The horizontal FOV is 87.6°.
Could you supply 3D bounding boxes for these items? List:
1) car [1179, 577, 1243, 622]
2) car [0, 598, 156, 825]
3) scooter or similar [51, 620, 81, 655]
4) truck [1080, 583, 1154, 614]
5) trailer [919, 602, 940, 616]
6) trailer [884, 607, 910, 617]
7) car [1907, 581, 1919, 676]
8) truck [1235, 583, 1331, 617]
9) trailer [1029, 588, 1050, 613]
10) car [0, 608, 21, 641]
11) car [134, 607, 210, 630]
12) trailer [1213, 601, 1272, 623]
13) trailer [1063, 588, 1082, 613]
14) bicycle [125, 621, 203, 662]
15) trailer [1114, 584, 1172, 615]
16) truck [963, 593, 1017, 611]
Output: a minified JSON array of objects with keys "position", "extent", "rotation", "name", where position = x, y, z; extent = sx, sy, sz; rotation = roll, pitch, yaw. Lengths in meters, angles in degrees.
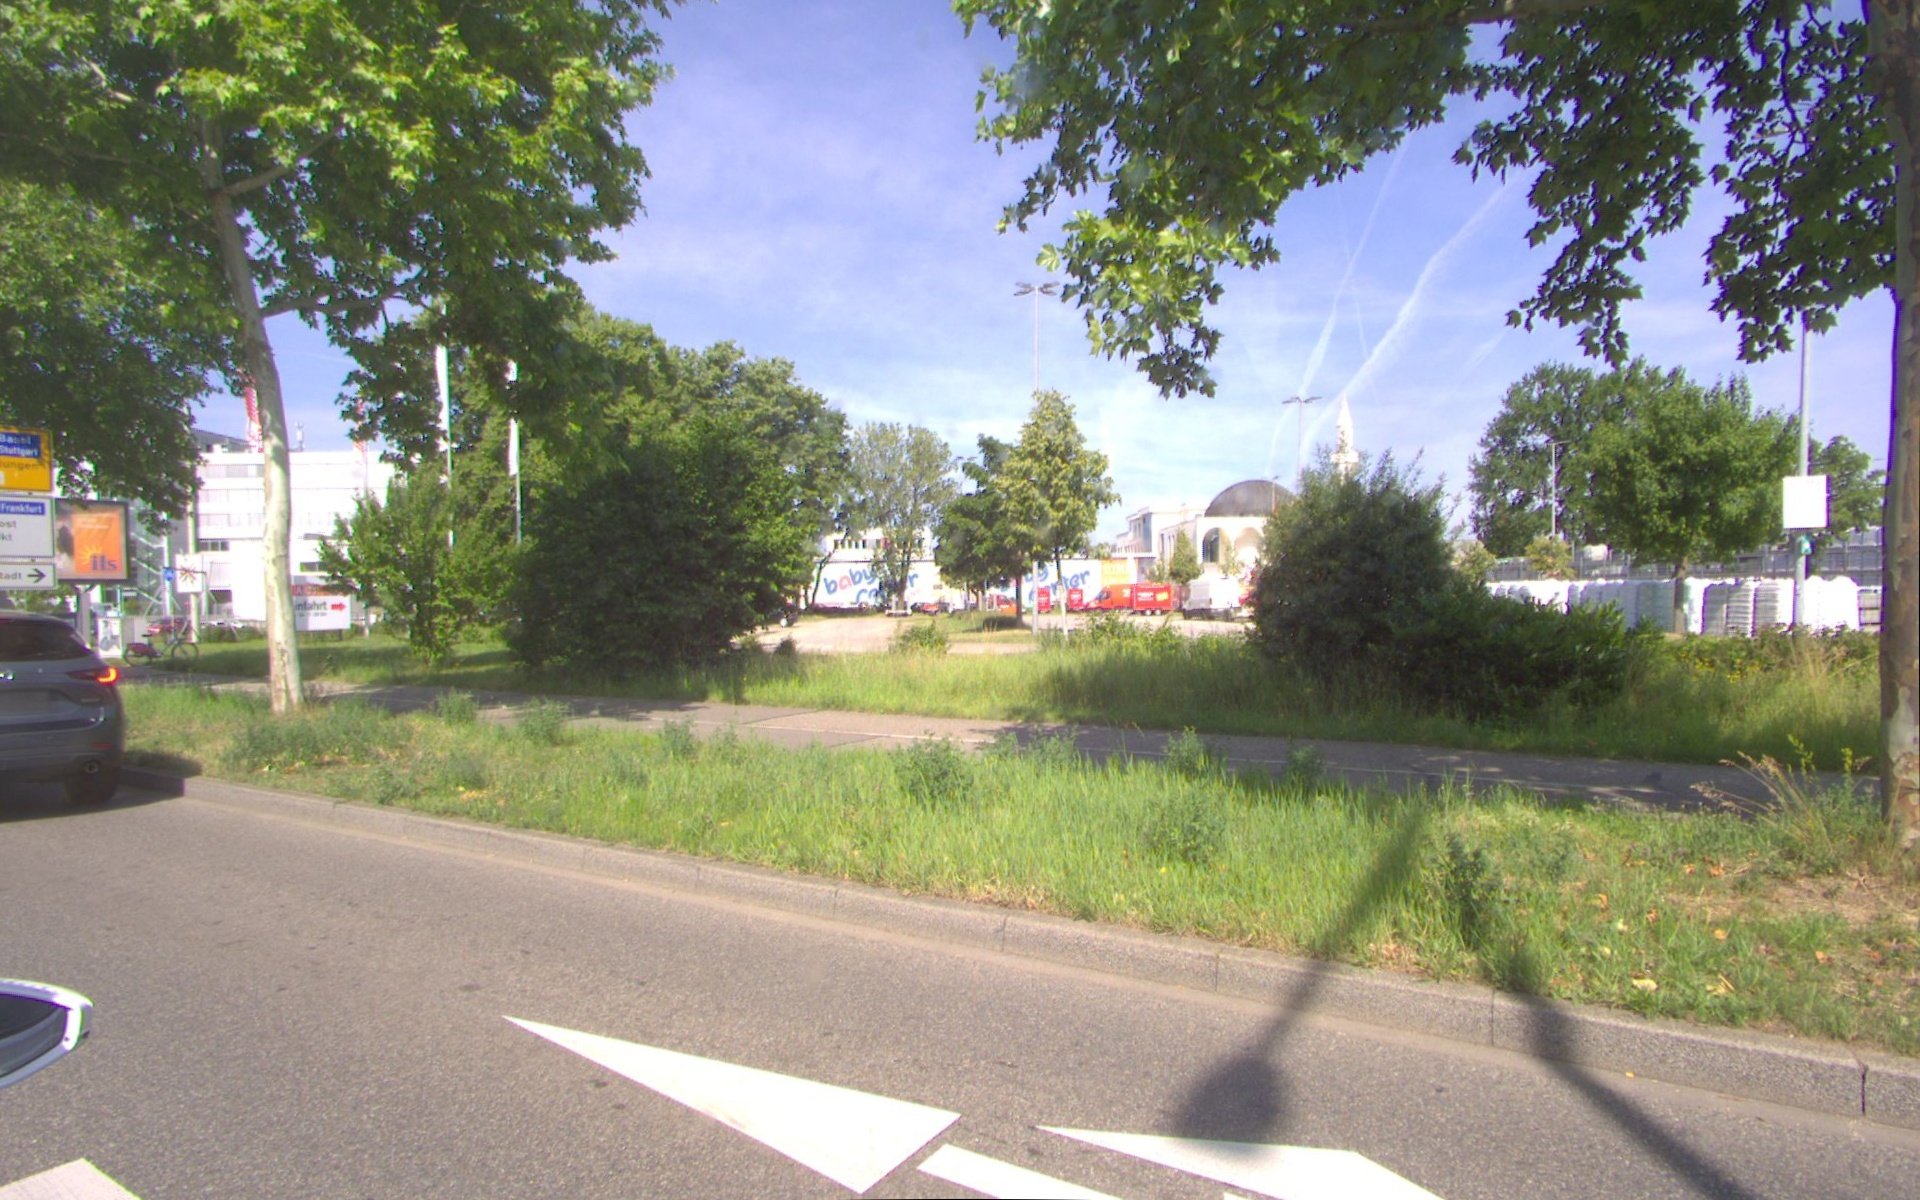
[{"position":[15.511,-0.043,62.215],"extent":[1.980,2.576,5.687],"rotation":[-3,0,-6],"name":"car"},{"position":[-8.940,0.859,8.620],"extent":[4.431,1.680,1.763],"rotation":[-1,-2,32],"name":"car"},{"position":[-29.902,1.242,33.501],"extent":[1.107,1.141,0.423],"rotation":[0,1,32],"name":"scooter or similar"},{"position":[13.328,-0.135,85.181],"extent":[5.914,2.644,2.018],"rotation":[0,0,-6],"name":"truck"},{"position":[-2.934,0.818,95.651],"extent":[1.560,1.304,4.409],"rotation":[-1,0,-7],"name":"trailer"},{"position":[-5.949,1.128,94.903],"extent":[2.059,0.792,4.411],"rotation":[-1,0,1],"name":"trailer"},{"position":[16.433,0.465,15.237],"extent":[1.820,1.606,3.849],"rotation":[-1,0,25],"name":"car"},{"position":[21.618,0.002,67.177],"extent":[5.751,2.168,2.066],"rotation":[-1,0,-1],"name":"truck"},{"position":[7.744,0.026,97.803],"extent":[1.560,2.408,4.410],"rotation":[0,1,-1],"name":"trailer"},{"position":[-50.151,1.286,50.240],"extent":[1.879,1.711,4.625],"rotation":[-1,0,-4],"name":"car"},{"position":[-53.951,1.239,68.634],"extent":[1.747,1.463,4.625],"rotation":[-1,0,-4],"name":"car"},{"position":[15.929,0.662,56.624],"extent":[2.029,1.137,4.031],"rotation":[-3,0,-2],"name":"trailer"},{"position":[10.891,0.037,97.185],"extent":[1.520,2.390,4.410],"rotation":[0,1,2],"name":"trailer"},{"position":[-23.809,1.221,29.986],"extent":[1.771,1.123,0.499],"rotation":[-3,2,-40],"name":"bicycle"},{"position":[14.503,-0.039,79.444],"extent":[4.325,2.409,1.751],"rotation":[0,1,0],"name":"trailer"},{"position":[3.364,0.240,112.917],"extent":[5.888,1.855,2.188],"rotation":[0,-2,-2],"name":"truck"}]
